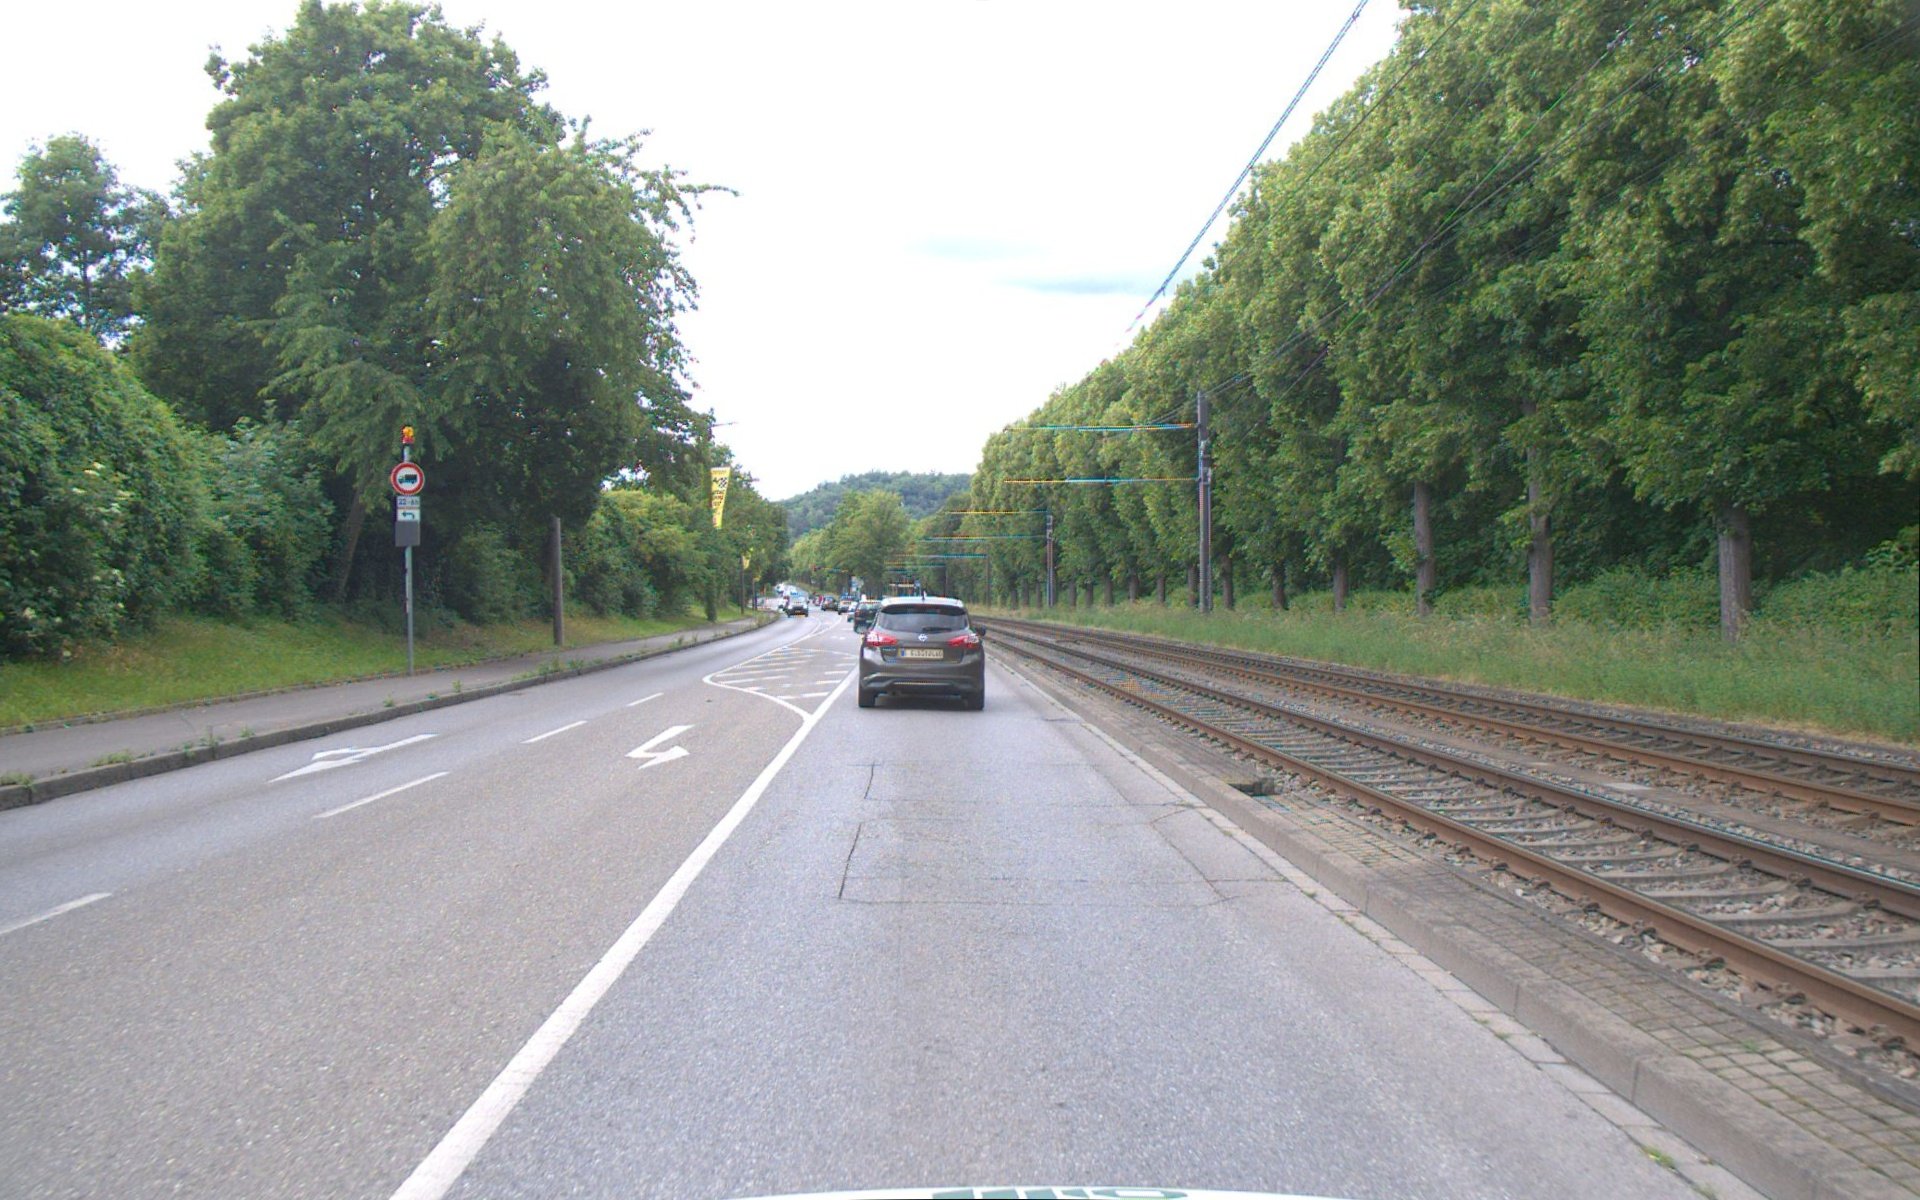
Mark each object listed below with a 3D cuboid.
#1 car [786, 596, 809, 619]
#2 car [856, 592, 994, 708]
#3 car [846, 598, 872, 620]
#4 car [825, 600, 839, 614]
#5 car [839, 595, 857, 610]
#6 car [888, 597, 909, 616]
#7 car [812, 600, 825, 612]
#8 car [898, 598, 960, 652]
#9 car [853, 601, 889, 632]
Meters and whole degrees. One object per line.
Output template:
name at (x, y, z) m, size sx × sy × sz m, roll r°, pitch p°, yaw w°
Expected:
car at (-15.311, 0.698, 156.115) m, size 1.954 × 2.072 × 5.111 m, roll -1°, pitch 0°, yaw -4°
car at (-0.499, 0.661, 23.995) m, size 1.813 × 1.519 × 3.999 m, roll 1°, pitch 0°, yaw -1°
car at (-6.770, 0.585, 111.193) m, size 1.665 × 1.469 × 3.998 m, roll 0°, pitch 0°, yaw -2°
car at (-16.936, 0.920, 219.612) m, size 1.665 × 1.744 × 3.998 m, roll 0°, pitch 0°, yaw -2°
car at (-11.500, 0.272, 169.804) m, size 1.758 × 1.537 × 3.998 m, roll 0°, pitch 0°, yaw -2°
car at (-4.920, 0.539, 133.171) m, size 1.665 × 1.469 × 3.998 m, roll 0°, pitch 0°, yaw -2°
car at (-19.678, 0.830, 230.201) m, size 1.665 × 1.744 × 3.998 m, roll 0°, pitch 0°, yaw -2°
car at (-0.945, 0.704, 48.061) m, size 1.666 × 1.469 × 3.997 m, roll 0°, pitch 0°, yaw -3°
car at (-4.342, 0.799, 80.112) m, size 1.666 × 1.469 × 3.997 m, roll 0°, pitch 0°, yaw -4°
